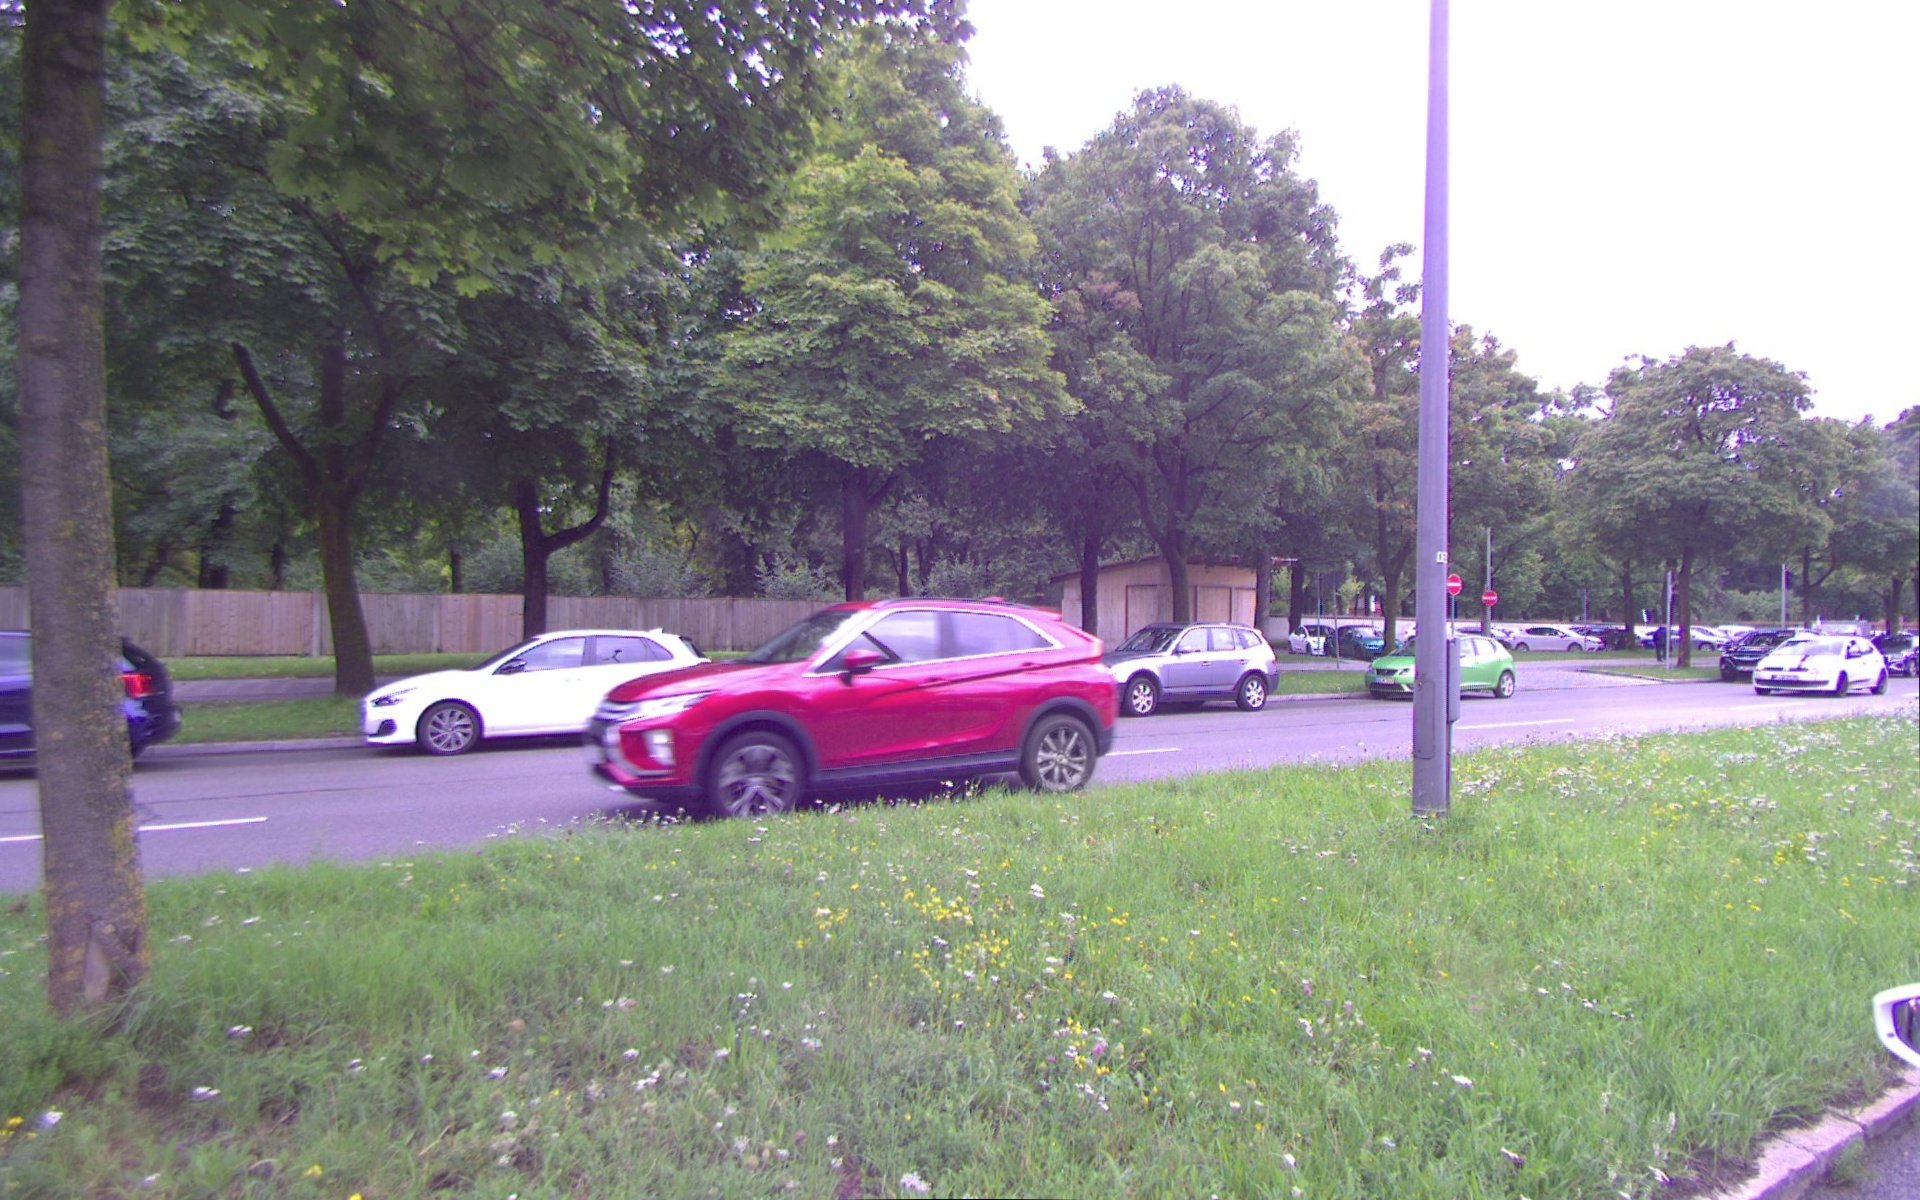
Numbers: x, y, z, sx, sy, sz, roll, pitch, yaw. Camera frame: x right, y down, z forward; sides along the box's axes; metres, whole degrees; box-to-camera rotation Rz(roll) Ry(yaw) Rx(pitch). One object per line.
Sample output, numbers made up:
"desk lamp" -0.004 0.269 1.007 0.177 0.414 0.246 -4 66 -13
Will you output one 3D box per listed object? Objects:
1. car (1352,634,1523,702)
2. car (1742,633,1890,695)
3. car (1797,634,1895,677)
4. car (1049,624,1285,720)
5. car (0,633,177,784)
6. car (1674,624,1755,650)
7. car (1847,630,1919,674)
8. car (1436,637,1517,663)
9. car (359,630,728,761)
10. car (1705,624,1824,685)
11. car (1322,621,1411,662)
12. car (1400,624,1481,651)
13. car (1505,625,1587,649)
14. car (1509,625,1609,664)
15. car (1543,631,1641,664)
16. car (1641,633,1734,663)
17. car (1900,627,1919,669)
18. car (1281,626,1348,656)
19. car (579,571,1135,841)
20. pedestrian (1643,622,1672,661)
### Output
"car" 10.897 1.502 22.882 3.831 1.428 1.542 1 -2 -28
"car" 20.891 1.523 24.485 3.794 1.393 1.610 1 -3 -31
"car" 30.270 1.879 34.300 3.343 1.329 1.582 2 0 -32
"car" 3.885 1.272 18.640 4.321 1.607 1.682 1 -2 -32
"car" -10.205 1.048 9.809 3.856 1.436 1.604 1 -3 -33
"car" 48.506 2.365 64.624 1.656 1.465 3.840 2 0 -35
"car" 34.297 1.882 36.813 3.835 1.465 1.658 2 0 -32
"car" 33.967 3.272 66.185 1.653 1.465 4.670 2 0 -29
"car" -5.311 1.132 13.049 4.229 1.463 1.599 1 -2 -31
"car" 25.349 1.677 31.623 3.835 1.764 1.707 2 0 -32
"car" 16.586 1.670 41.211 1.922 1.465 4.421 2 0 2
"car" 30.610 2.368 64.111 1.653 1.496 4.486 2 -1 -29
"car" 40.134 2.524 68.935 1.653 1.465 4.670 2 0 -29
"car" 29.309 2.142 49.235 1.656 1.740 3.892 2 0 -35
"car" 31.685 2.348 50.442 1.656 1.465 3.840 2 0 -35
"car" 40.023 2.603 55.307 1.656 1.465 3.840 2 0 -35
"car" 38.796 1.916 39.595 3.835 1.579 1.582 2 0 -32
"car" 16.457 1.868 46.812 1.639 1.217 4.421 2 -1 2
"car" -0.782 0.756 8.324 4.196 1.718 1.895 1 -3 -31
"pedestrian" 28.571 1.693 41.142 0.712 1.554 0.724 1 0 -30
